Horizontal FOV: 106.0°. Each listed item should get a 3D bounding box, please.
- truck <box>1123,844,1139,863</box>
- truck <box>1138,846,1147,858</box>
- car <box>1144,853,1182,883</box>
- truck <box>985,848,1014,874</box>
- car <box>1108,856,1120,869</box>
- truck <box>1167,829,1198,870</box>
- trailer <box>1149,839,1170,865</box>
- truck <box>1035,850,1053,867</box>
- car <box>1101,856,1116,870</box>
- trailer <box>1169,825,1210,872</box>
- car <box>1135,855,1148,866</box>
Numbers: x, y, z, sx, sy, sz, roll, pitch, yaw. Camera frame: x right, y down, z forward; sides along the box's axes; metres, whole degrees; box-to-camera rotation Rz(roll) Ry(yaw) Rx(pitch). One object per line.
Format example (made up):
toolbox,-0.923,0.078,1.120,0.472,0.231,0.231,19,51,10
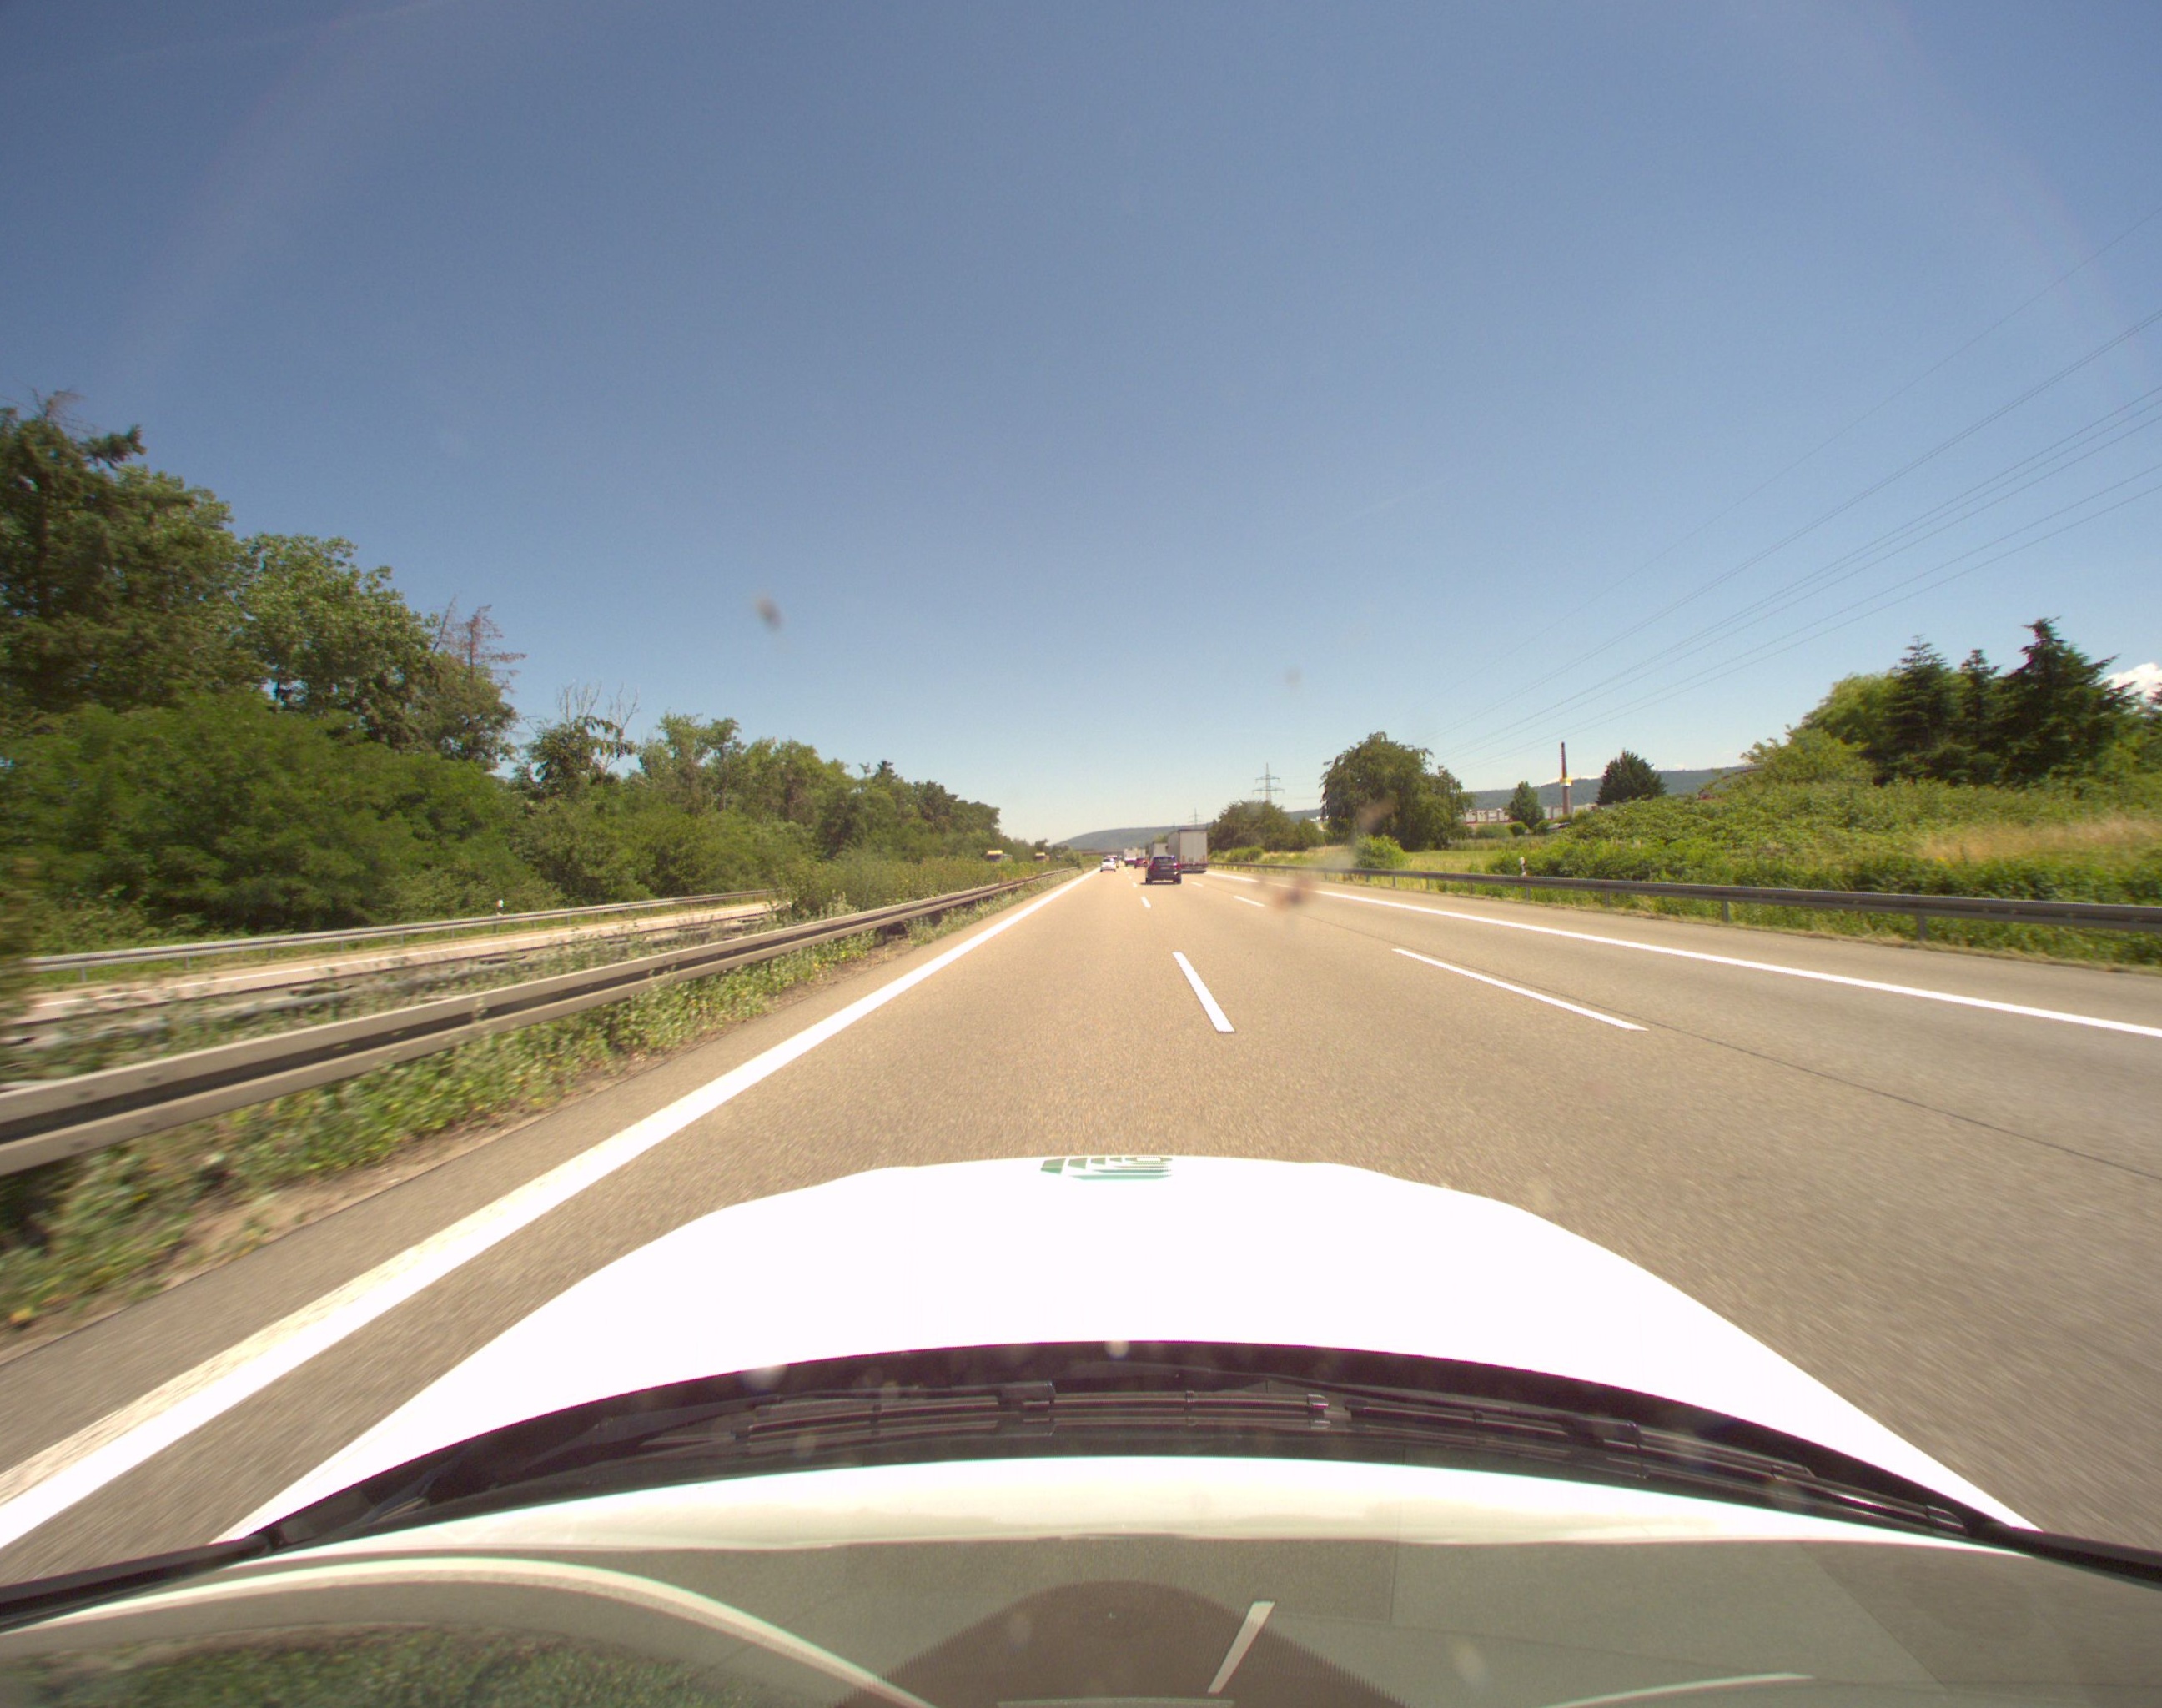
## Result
truck,9.208,-0.073,149.364,2.771,3.373,8.132,-1,-1,3
truck,17.310,-0.455,230.050,2.212,3.209,10.391,-2,0,3
car,4.674,0.797,46.921,1.866,1.623,4.006,-1,0,2
truck,-12.428,1.109,124.684,2.528,3.634,11.851,-4,-1,2
car,4.928,1.194,121.989,1.754,1.850,4.002,-2,0,2
truck,10.632,-0.409,85.793,2.725,4.120,6.128,-1,0,3
trailer,13.517,-0.237,141.246,2.777,4.164,13.584,-3,-1,3
truck,-8.734,0.947,191.203,2.888,3.706,11.906,-4,0,3
car,3.031,0.994,89.866,1.601,1.468,4.002,-2,0,2
trailer,10.296,-0.427,78.422,2.725,4.106,13.130,-1,0,3
car,8.438,0.894,113.670,1.796,1.545,4.003,-1,0,3
